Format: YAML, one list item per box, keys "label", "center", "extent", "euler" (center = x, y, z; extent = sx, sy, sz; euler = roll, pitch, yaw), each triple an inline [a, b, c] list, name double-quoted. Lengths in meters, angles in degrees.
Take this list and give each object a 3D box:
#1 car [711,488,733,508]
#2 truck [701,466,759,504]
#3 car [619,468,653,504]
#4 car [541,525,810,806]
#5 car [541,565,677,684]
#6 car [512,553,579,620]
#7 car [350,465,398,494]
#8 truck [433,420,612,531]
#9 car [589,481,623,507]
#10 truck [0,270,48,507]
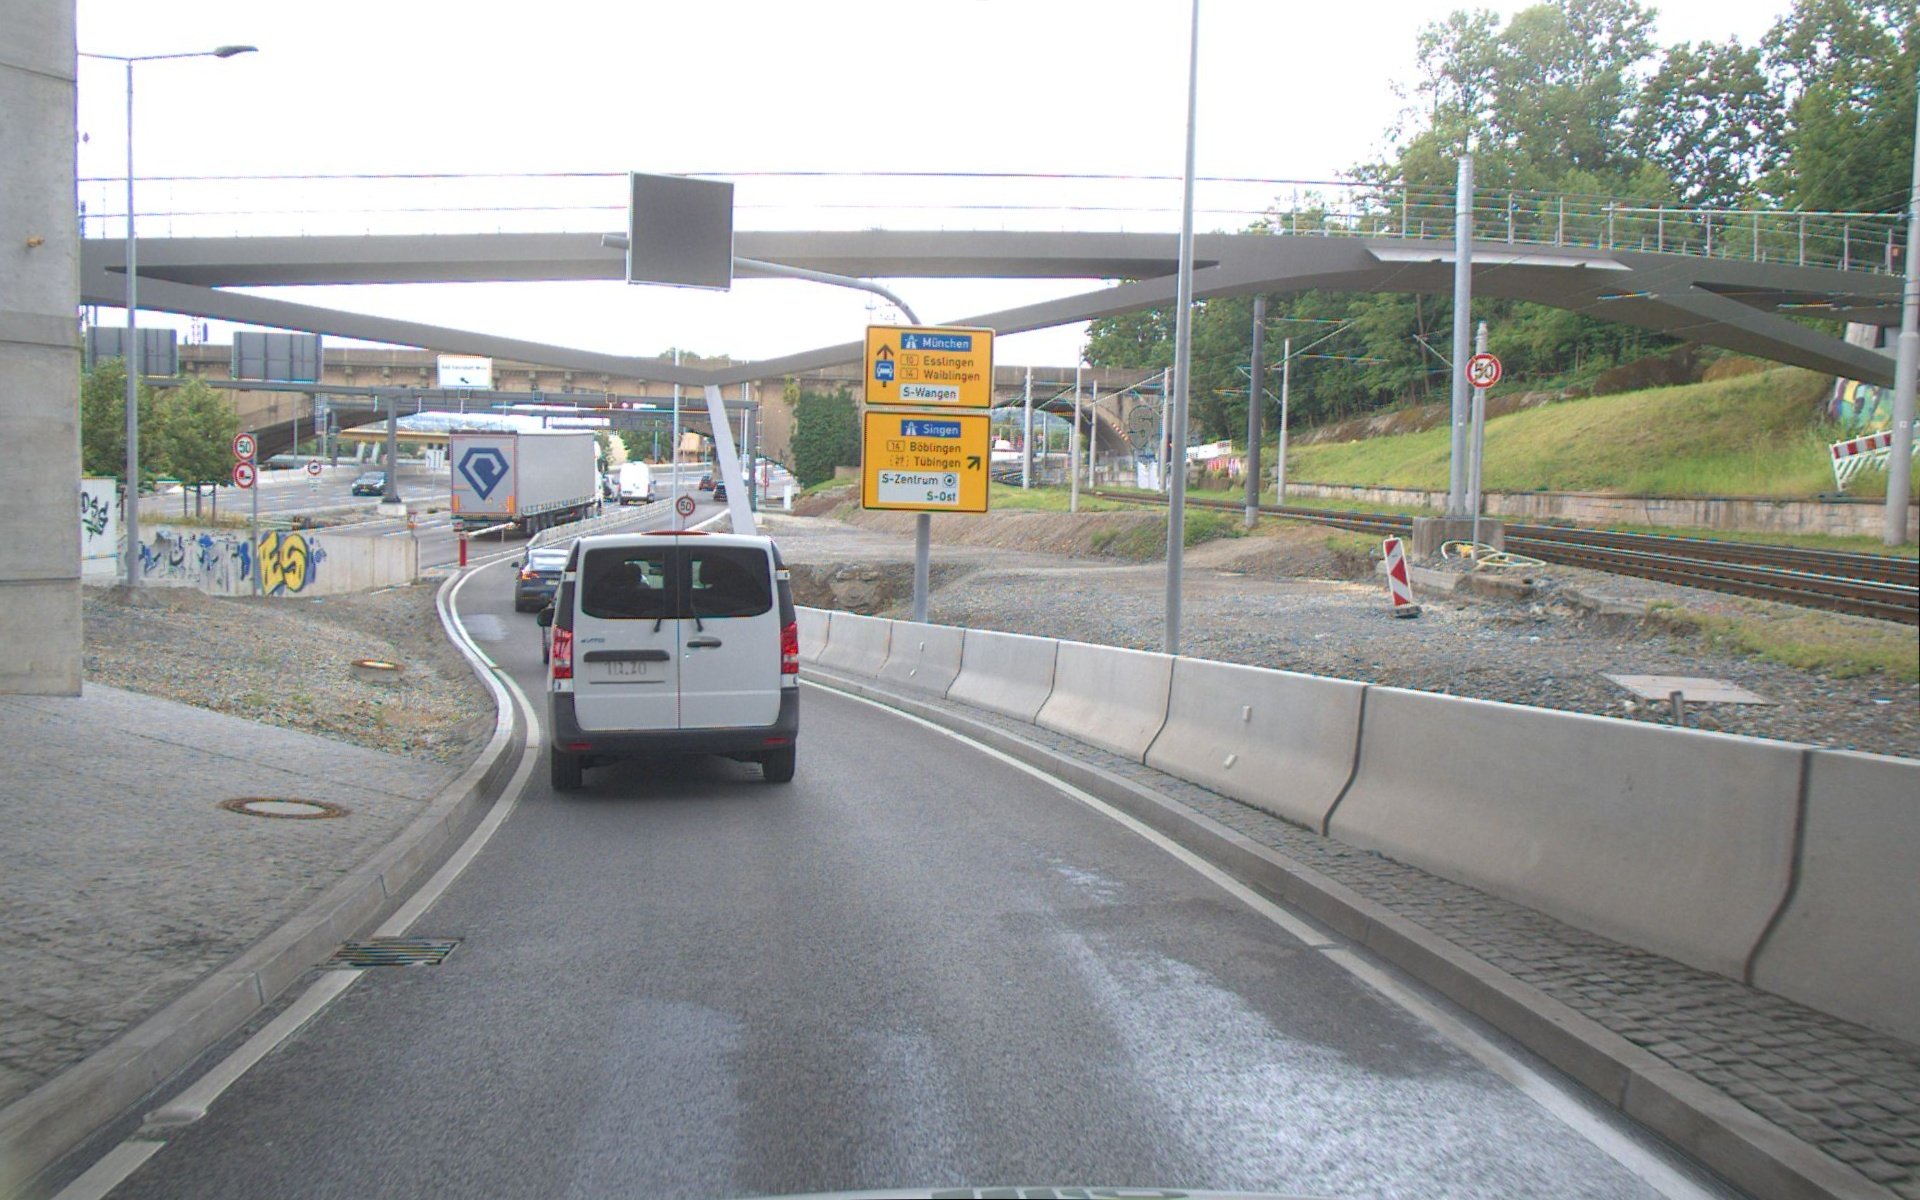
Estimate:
- label: "car"
  center: [-21.441, -9.174, 149.113]
  extent: [1.592, 1.612, 3.998]
  euler: [2, 2, -4]
- label: "truck"
  center: [-22.918, -11.438, 165.030]
  extent: [3.323, 3.202, 7.263]
  euler: [5, 2, 11]
- label: "car"
  center: [-20.997, -7.380, 107.207]
  extent: [1.863, 2.152, 4.478]
  euler: [2, 2, -9]
- label: "car"
  center: [-2.431, 0.423, 13.864]
  extent: [1.843, 1.924, 4.740]
  euler: [0, 1, -11]
- label: "car"
  center: [-5.702, 0.336, 26.588]
  extent: [1.722, 1.653, 3.826]
  euler: [1, 2, -18]
- label: "car"
  center: [-10.102, -0.360, 40.485]
  extent: [1.475, 1.494, 3.389]
  euler: [2, 2, -13]
- label: "car"
  center: [-36.631, -7.504, 103.435]
  extent: [1.672, 1.652, 4.000]
  euler: [1, 3, -2]
- label: "truck"
  center: [-17.822, -5.247, 69.025]
  extent: [3.250, 3.873, 16.599]
  euler: [3, 5, -1]
- label: "car"
  center: [-25.137, -7.512, 117.476]
  extent: [1.612, 1.648, 4.000]
  euler: [3, 3, -2]
- label: "truck"
  center: [-19.077, -3.810, 25.894]
  extent: [2.925, 4.248, 11.245]
  euler: [2, 2, 2]
